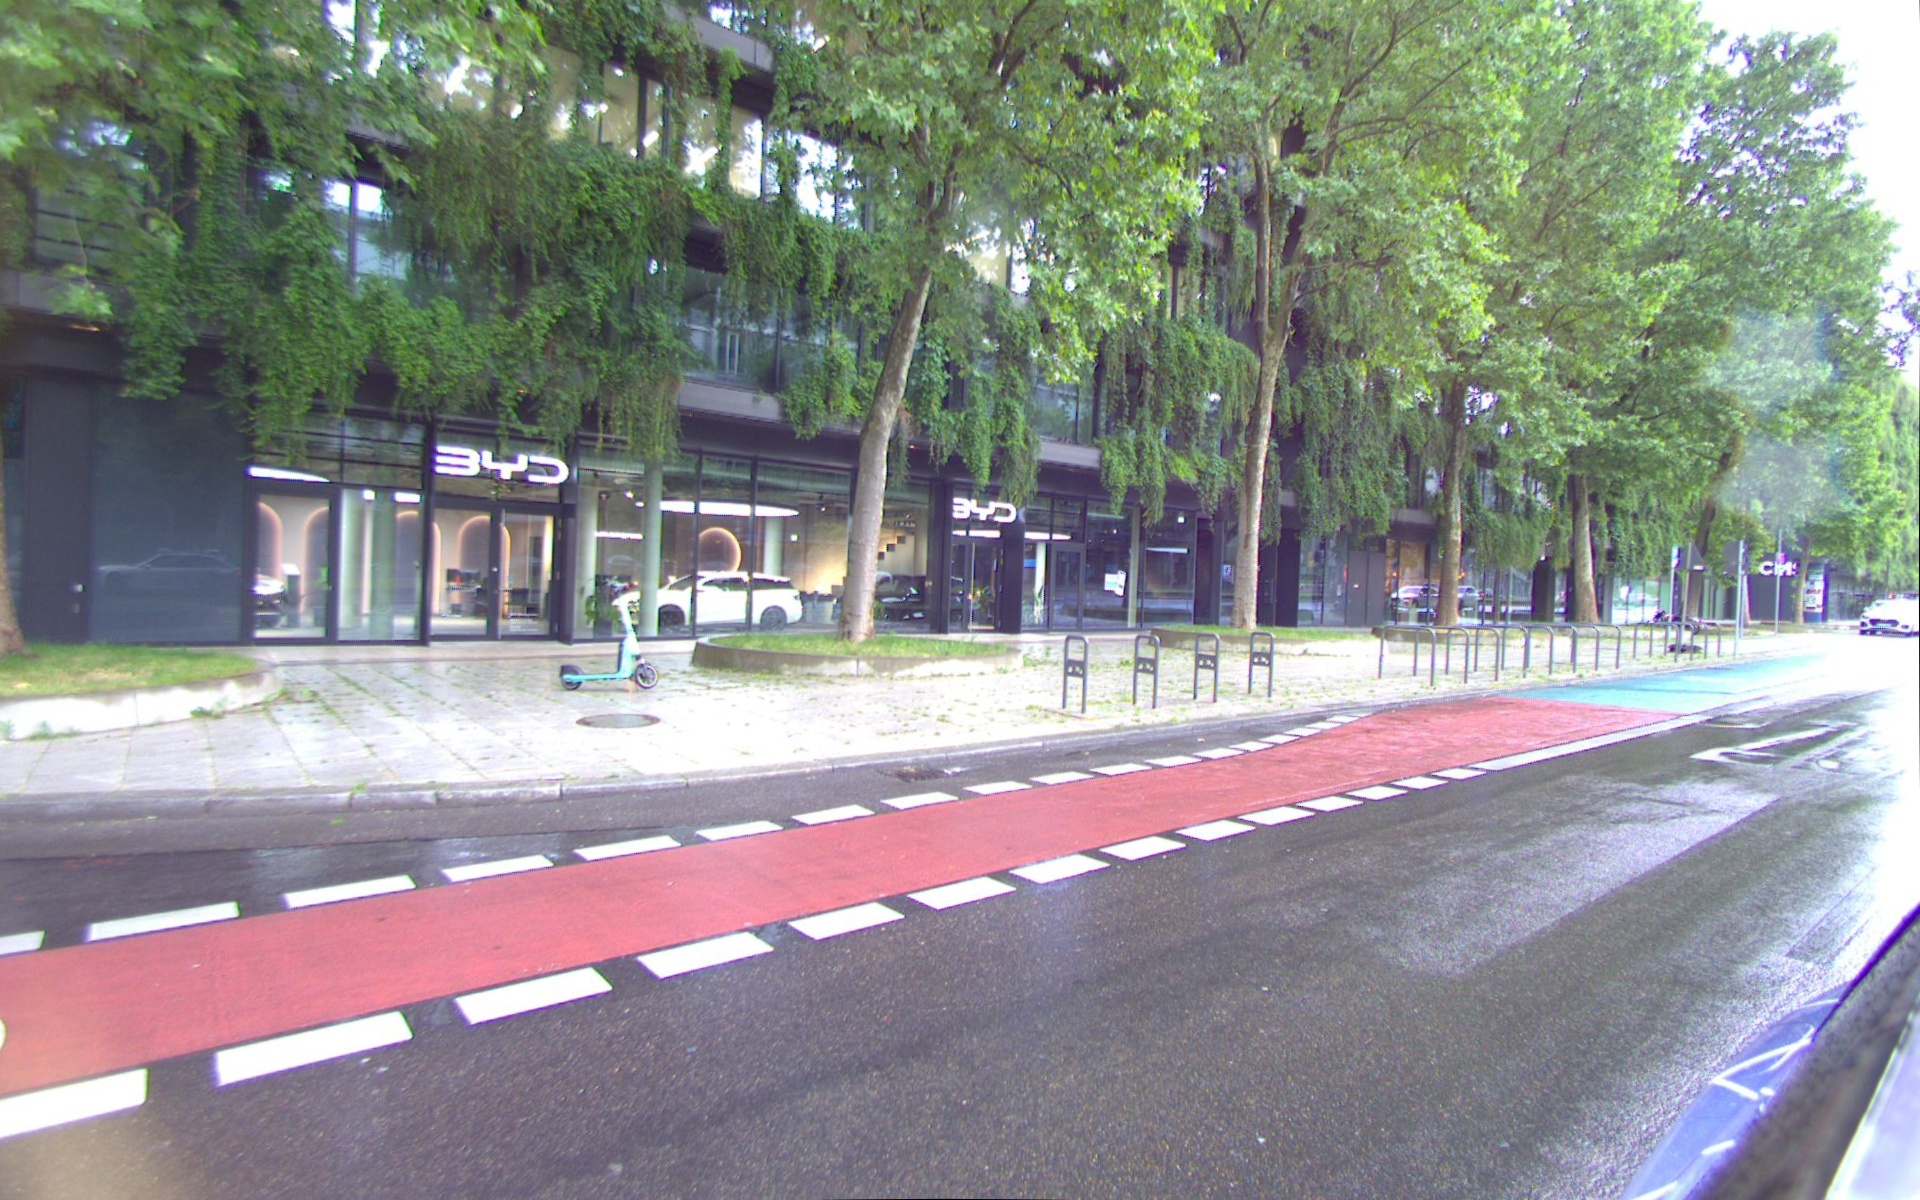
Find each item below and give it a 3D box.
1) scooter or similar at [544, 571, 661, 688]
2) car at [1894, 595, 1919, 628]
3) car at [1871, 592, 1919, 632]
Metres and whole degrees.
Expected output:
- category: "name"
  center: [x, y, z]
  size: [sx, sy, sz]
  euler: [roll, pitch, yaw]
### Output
- category: "scooter or similar"
  center: [-4.094, 0.325, 11.624]
  size: [1.165, 1.298, 0.535]
  euler: [0, 0, 10]
- category: "car"
  center: [49.192, 0.537, 51.345]
  size: [4.503, 1.581, 2.035]
  euler: [-1, 1, -39]
- category: "car"
  center: [44.583, 0.514, 47.694]
  size: [4.519, 1.757, 1.931]
  euler: [-1, 1, -41]
